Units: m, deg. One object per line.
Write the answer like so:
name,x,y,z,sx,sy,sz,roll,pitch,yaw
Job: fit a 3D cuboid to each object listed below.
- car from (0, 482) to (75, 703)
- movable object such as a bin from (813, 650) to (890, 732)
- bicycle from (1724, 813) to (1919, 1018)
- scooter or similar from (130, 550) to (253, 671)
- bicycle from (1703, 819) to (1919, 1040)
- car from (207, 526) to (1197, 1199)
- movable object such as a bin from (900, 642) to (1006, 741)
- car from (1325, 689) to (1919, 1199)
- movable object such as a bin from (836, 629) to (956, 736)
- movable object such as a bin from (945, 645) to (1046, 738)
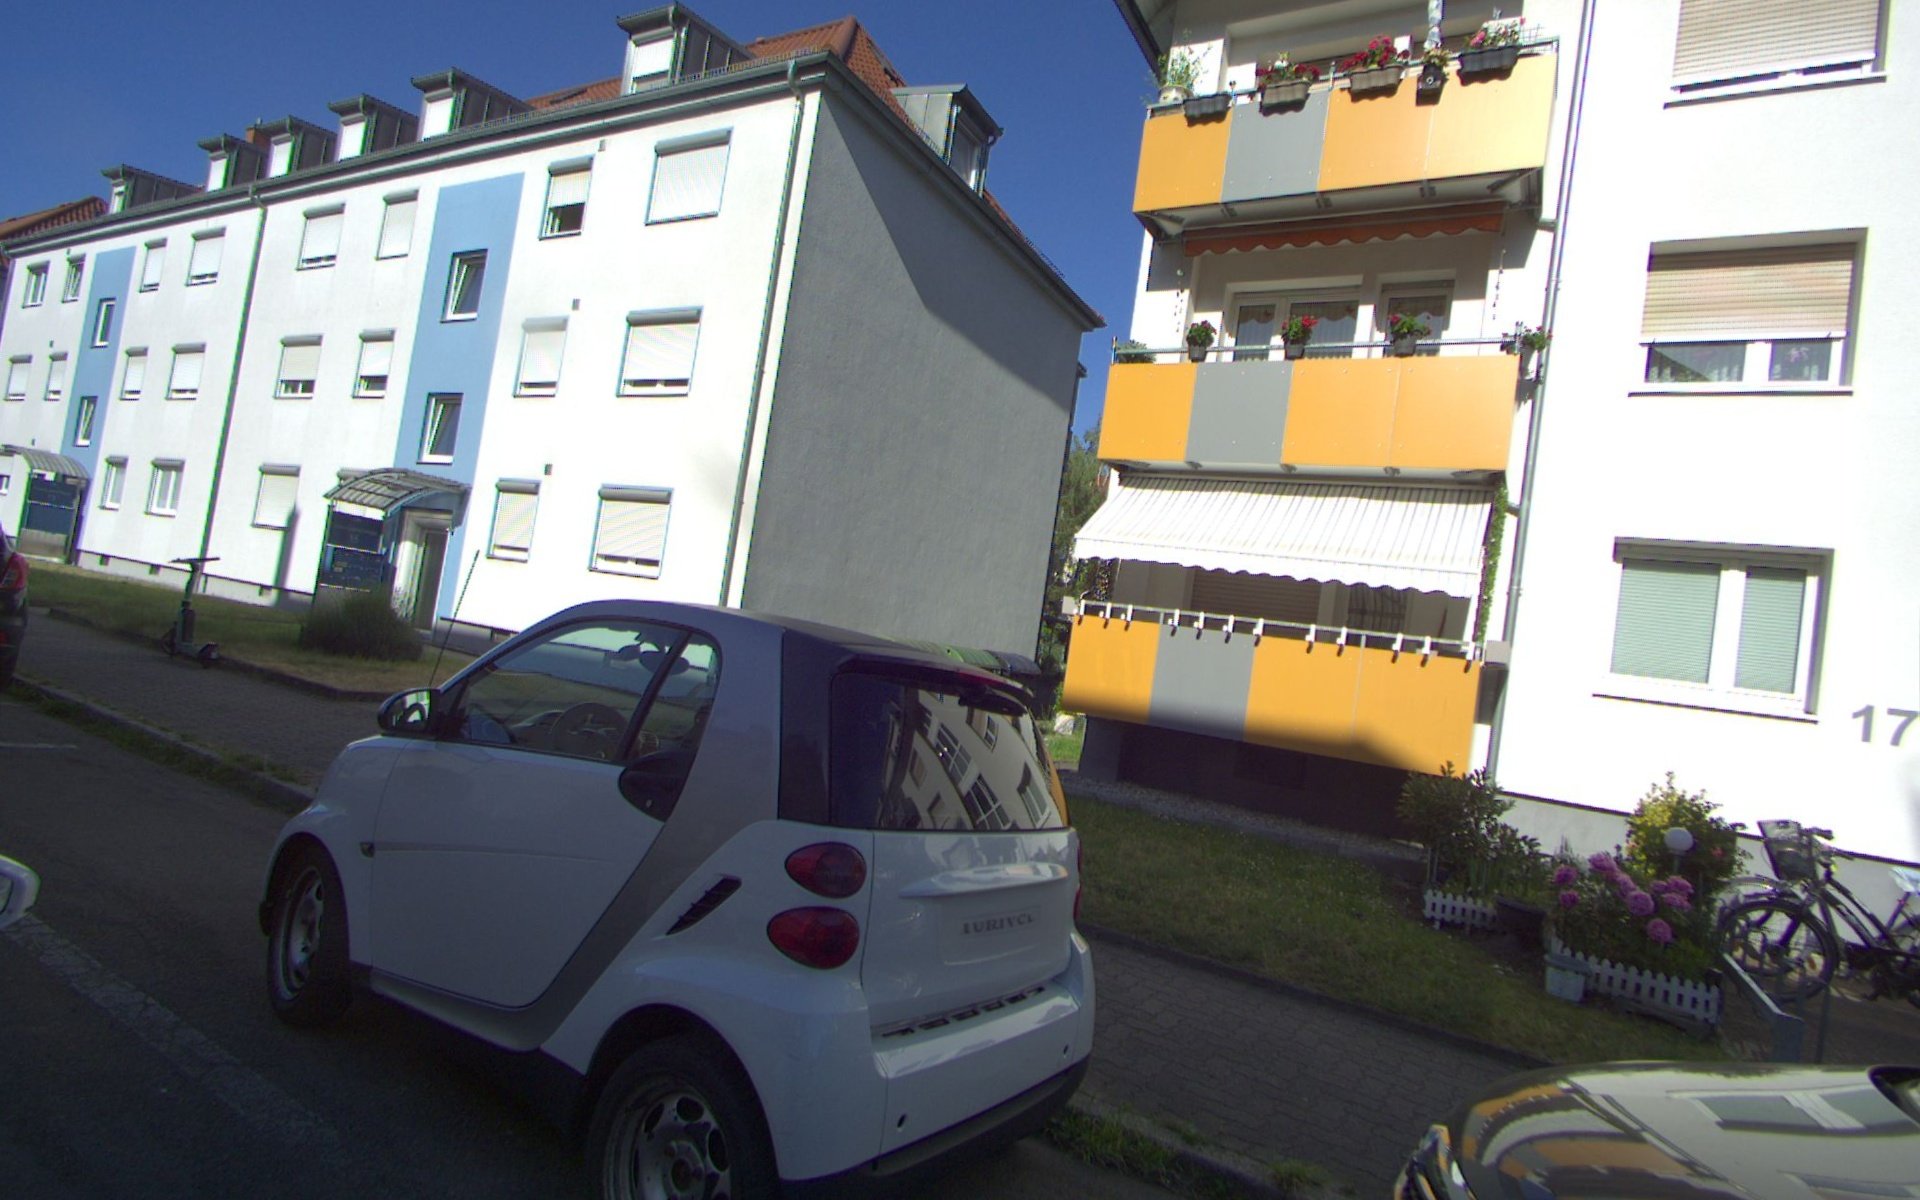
car,-9.515,-0.377,8.429,4.395,1.664,1.789,7,-5,32
movable object such as a bin,-1.518,1.275,14.133,0.745,1.046,0.644,5,-2,31
bicycle,6.332,2.239,7.180,1.252,1.145,0.404,7,-2,32
scooter or similar,-8.643,0.109,11.299,1.562,1.163,0.484,7,1,32
bicycle,5.698,2.119,6.516,1.278,1.099,0.404,7,-1,32
car,-0.955,0.758,3.373,2.894,1.544,1.484,7,-5,35
movable object such as a bin,-0.097,1.480,16.245,1.038,1.428,1.346,5,-3,31
car,2.602,1.222,1.188,3.916,1.506,1.700,7,-5,30
movable object such as a bin,-0.928,1.230,14.952,1.088,1.422,1.331,5,-3,31
movable object such as a bin,0.637,1.591,17.489,1.124,1.442,1.346,5,-3,31
